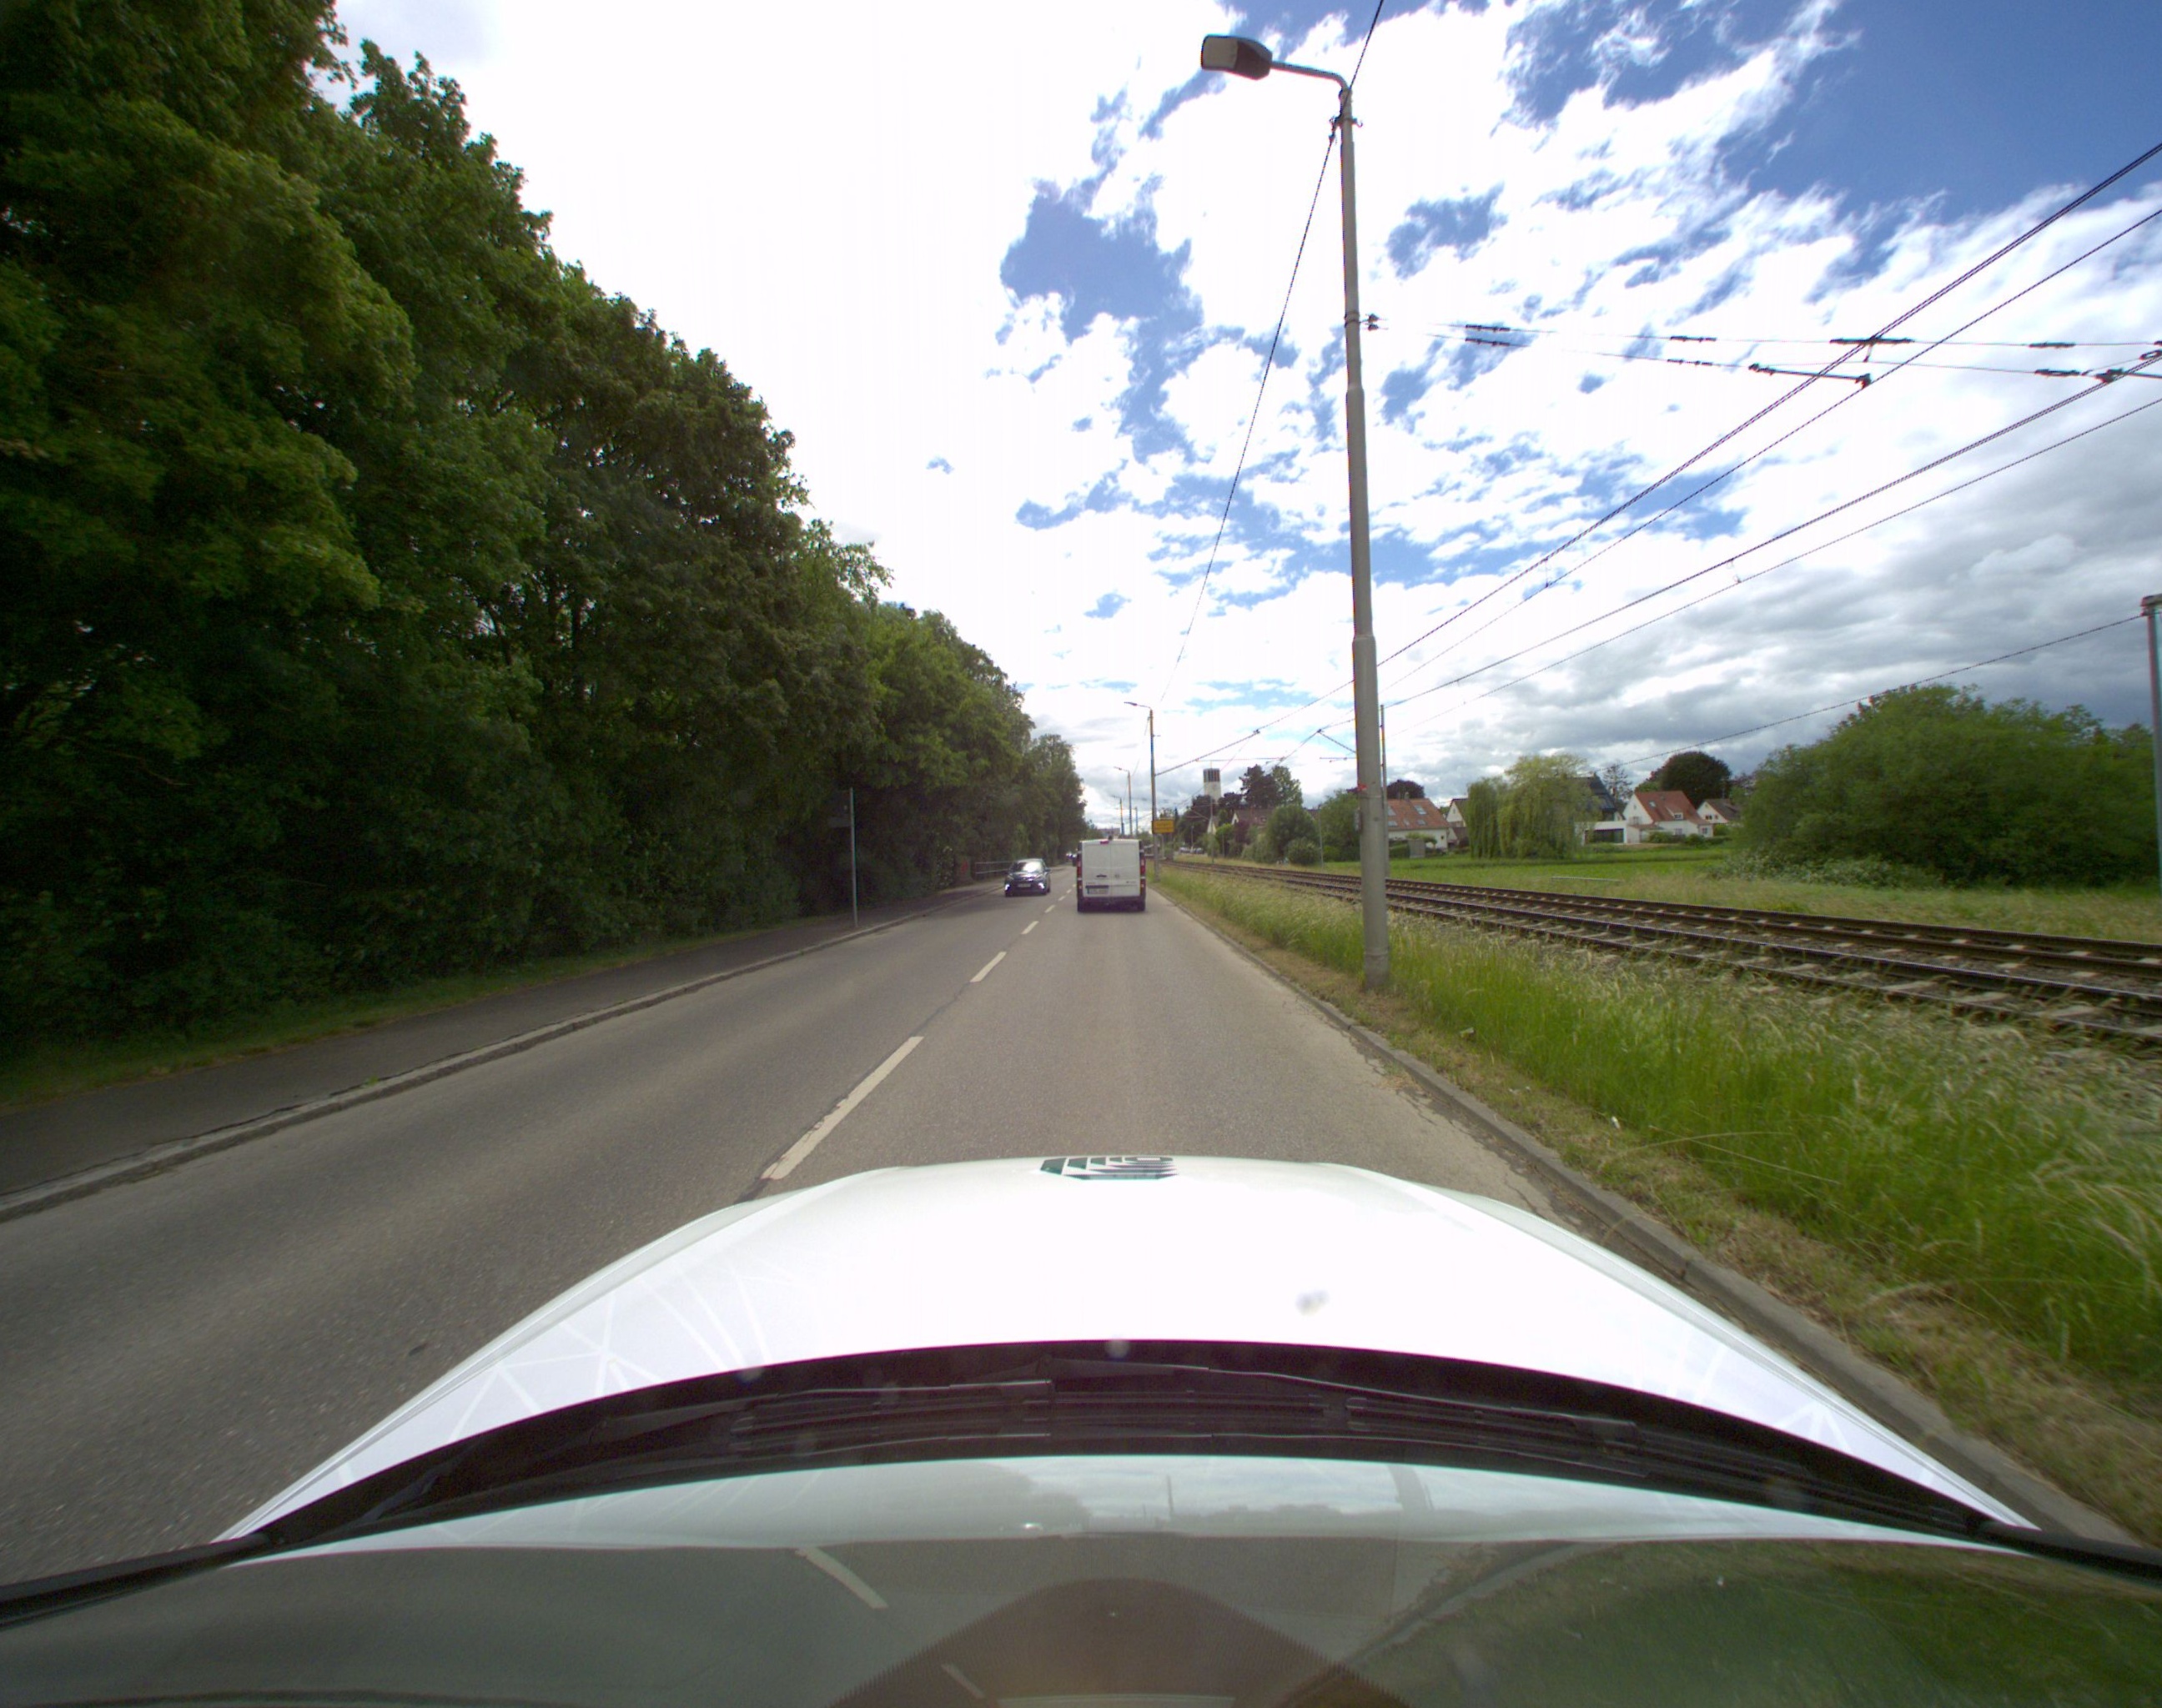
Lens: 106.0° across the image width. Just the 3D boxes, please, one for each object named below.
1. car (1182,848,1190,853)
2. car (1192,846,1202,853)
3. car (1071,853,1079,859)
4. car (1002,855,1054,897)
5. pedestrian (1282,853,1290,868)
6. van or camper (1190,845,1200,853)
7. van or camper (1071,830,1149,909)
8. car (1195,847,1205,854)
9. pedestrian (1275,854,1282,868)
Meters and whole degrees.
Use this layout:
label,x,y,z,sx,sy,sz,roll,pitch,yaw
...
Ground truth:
label,x,y,z,sx,sy,sz,roll,pitch,yaw
car,29.563,-0.992,228.833,1.876,1.522,4.002,-2,0,2
car,28.787,-1.084,202.405,1.876,1.522,4.002,-2,0,2
car,-1.699,0.498,219.104,1.734,1.504,4.470,-4,0,-5
car,-2.136,0.881,33.939,1.700,1.528,3.826,-4,0,2
pedestrian,21.116,0.671,83.857,0.614,1.622,0.584,0,0,1
van or camper,28.902,-1.258,207.087,1.898,1.826,5.050,-2,0,2
van or camper,0.831,0.422,23.275,1.986,2.014,4.447,-1,0,2
car,28.718,-0.907,196.254,1.876,1.522,4.002,-2,0,2
pedestrian,20.325,0.715,83.928,0.595,1.430,0.667,0,0,2
